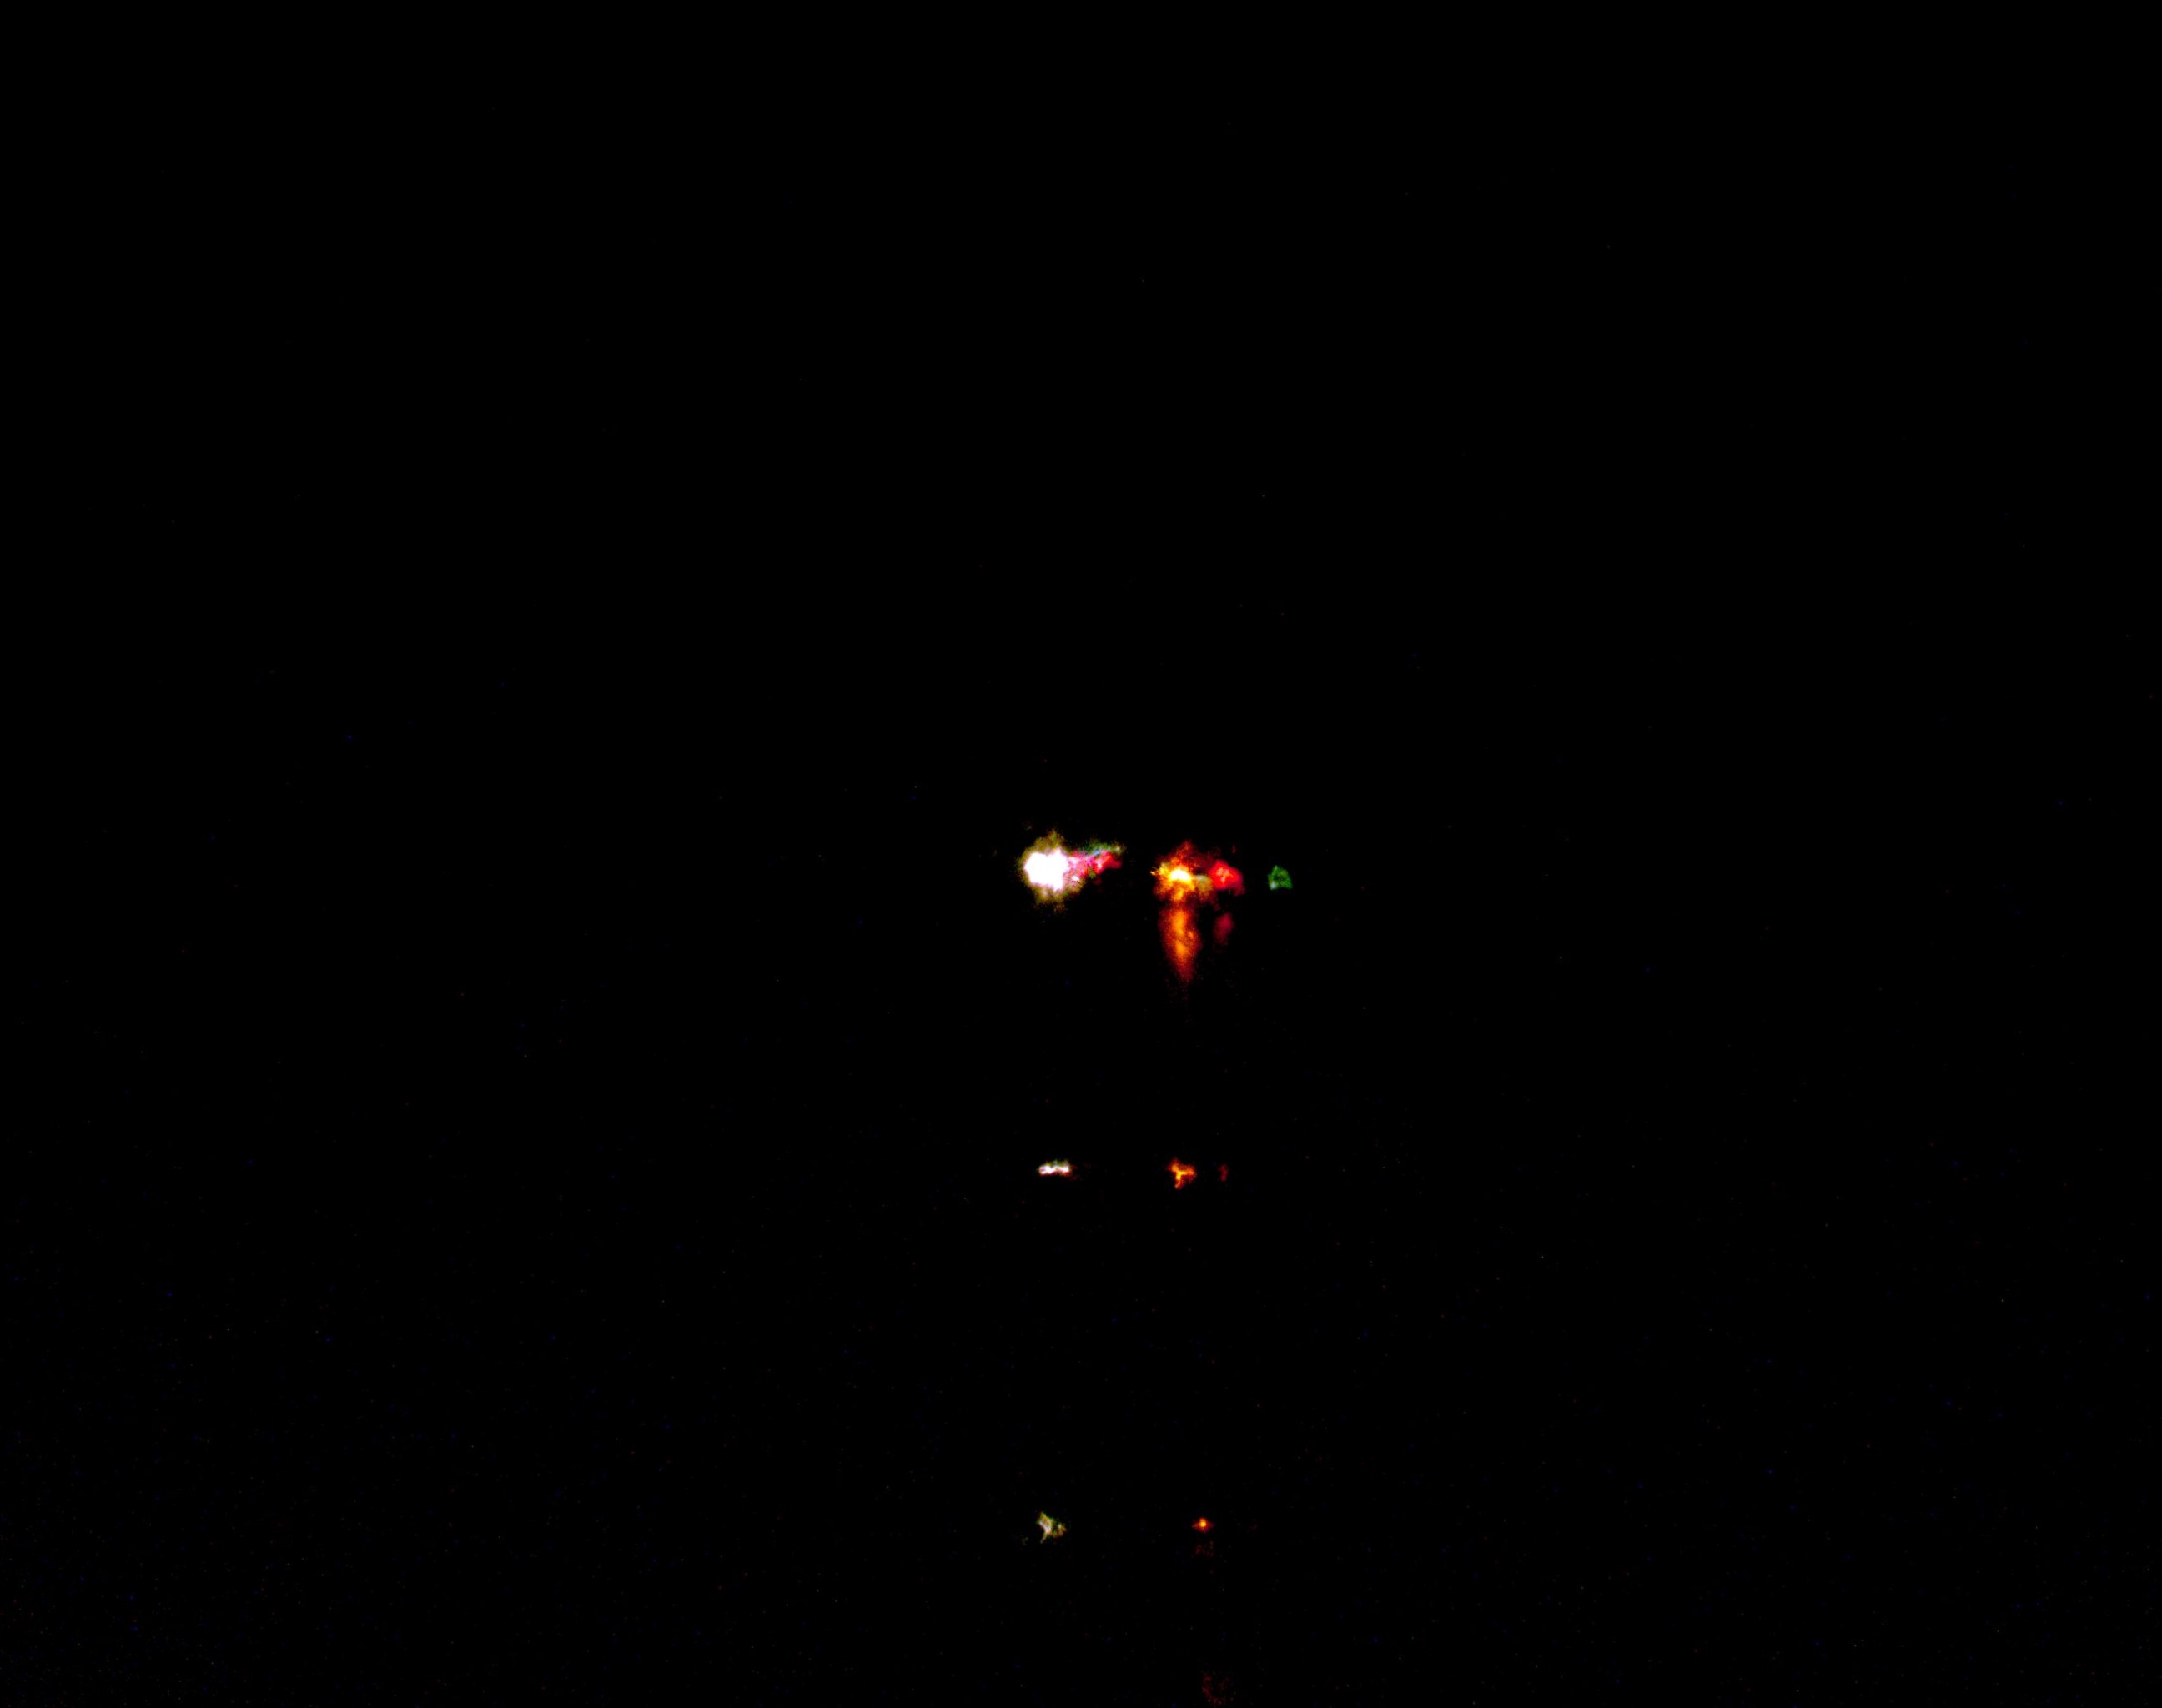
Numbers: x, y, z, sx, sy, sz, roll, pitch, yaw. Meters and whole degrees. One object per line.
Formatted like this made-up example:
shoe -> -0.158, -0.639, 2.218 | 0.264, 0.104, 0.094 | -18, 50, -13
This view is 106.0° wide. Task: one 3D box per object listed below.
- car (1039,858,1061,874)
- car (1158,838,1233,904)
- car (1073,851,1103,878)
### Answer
car -> -3.055, 1.164, 81.938 | 1.987, 1.576, 4.661 | -1, 0, 0
car -> 3.780, 0.532, 27.492 | 2.085, 2.013, 4.002 | -1, 0, 2
car -> 0.424, 0.652, 51.686 | 1.803, 1.621, 4.000 | -1, 0, 0
